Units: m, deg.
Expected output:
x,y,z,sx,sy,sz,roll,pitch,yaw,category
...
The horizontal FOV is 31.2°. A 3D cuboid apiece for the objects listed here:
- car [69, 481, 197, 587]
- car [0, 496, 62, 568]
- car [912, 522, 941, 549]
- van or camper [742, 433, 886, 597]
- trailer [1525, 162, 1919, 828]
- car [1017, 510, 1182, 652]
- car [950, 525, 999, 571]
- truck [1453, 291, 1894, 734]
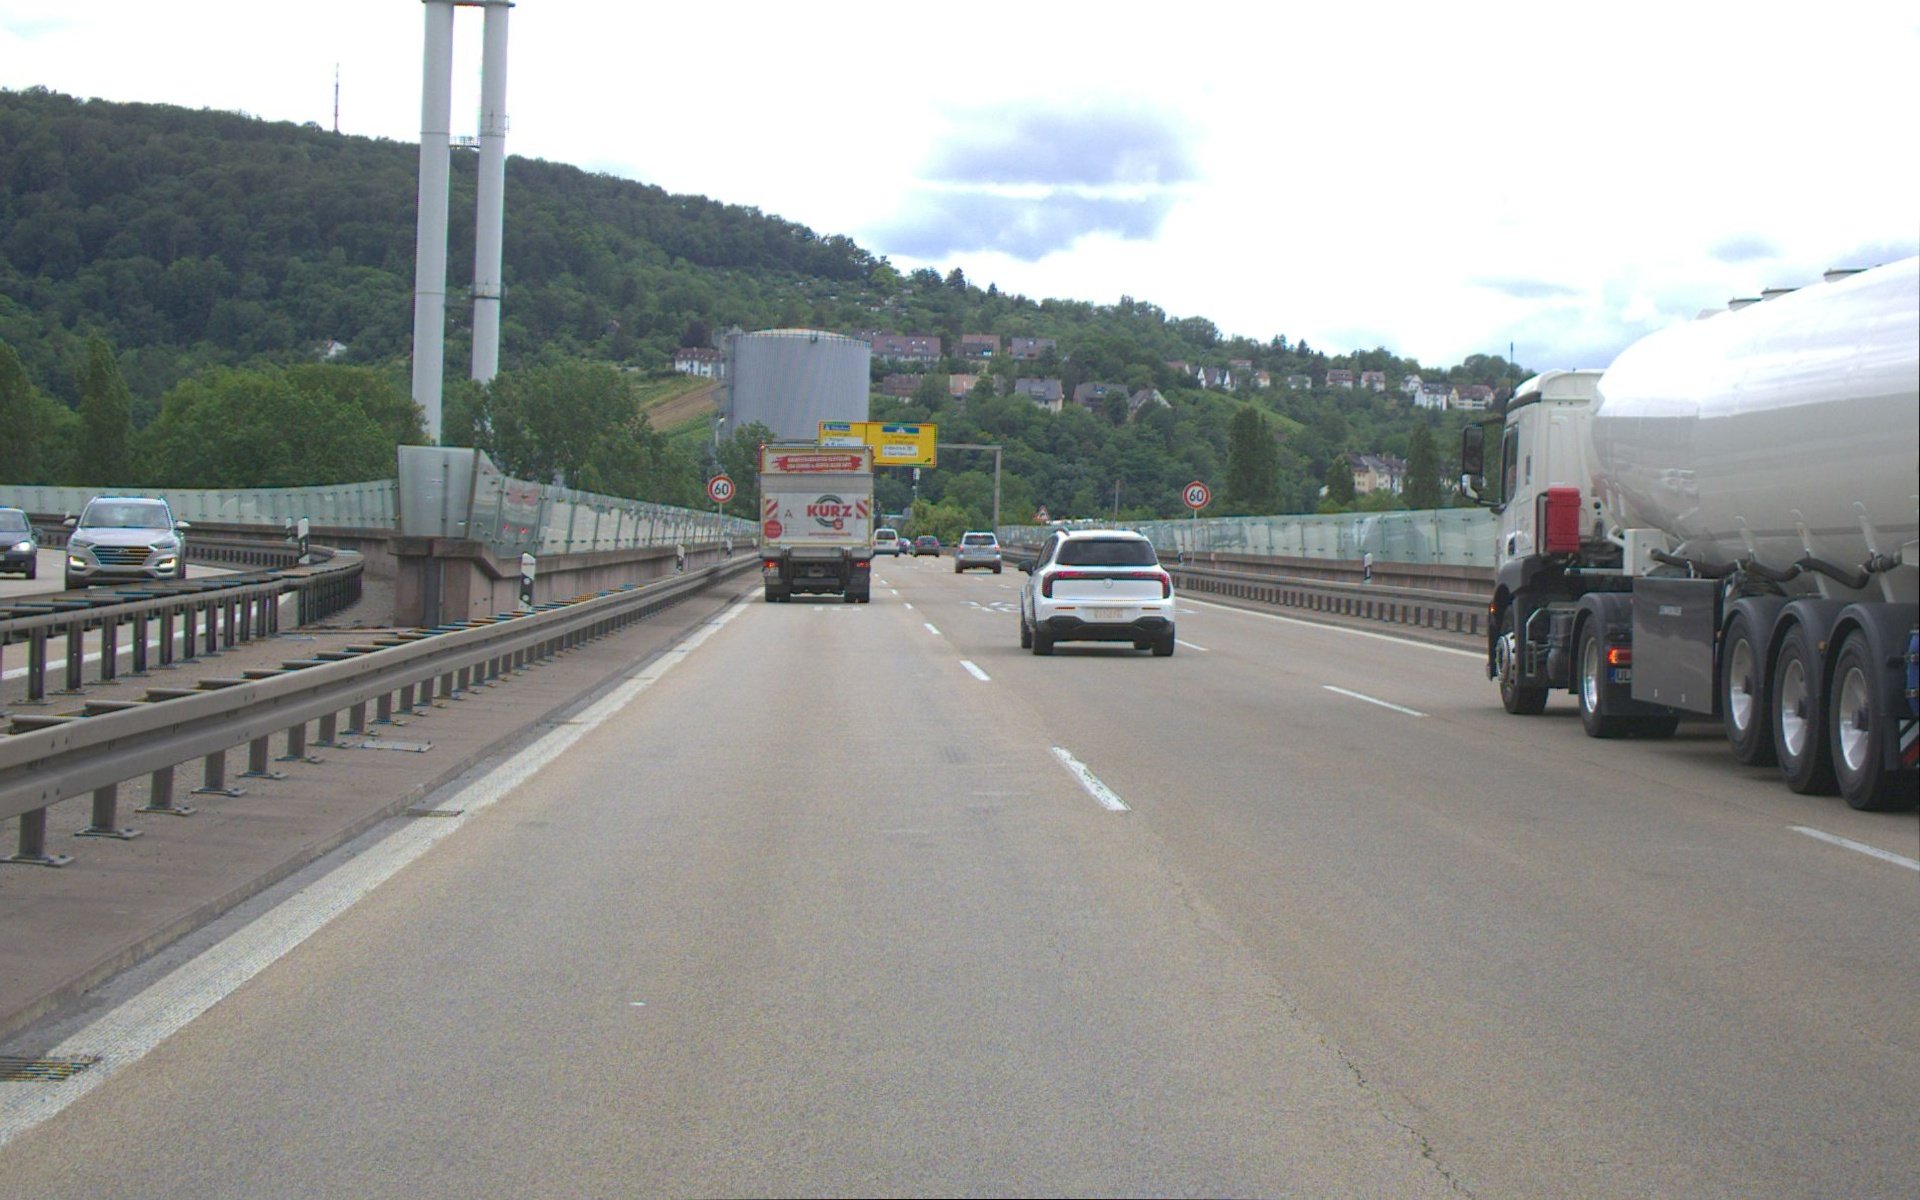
x,y,z,sx,sy,sz,roll,pitch,yaw,category
-13.774,-1.115,57.457,1.844,1.667,4.409,1,1,-11,car
-19.744,-1.422,70.747,1.759,1.427,4.398,1,1,-6,car
-2.373,-4.500,239.892,1.924,1.779,4.113,1,1,-1,car
-3.345,-1.946,80.524,3.121,3.567,8.551,1,1,-1,van or camper
6.263,-0.618,23.281,2.650,3.531,11.221,1,1,-2,trailer
1.828,-0.296,46.324,1.924,1.779,4.113,1,1,-1,car
0.602,-2.144,140.283,1.924,1.779,4.113,1,1,1,car
6.072,-0.744,30.019,2.630,3.502,4.904,1,1,-2,truck
